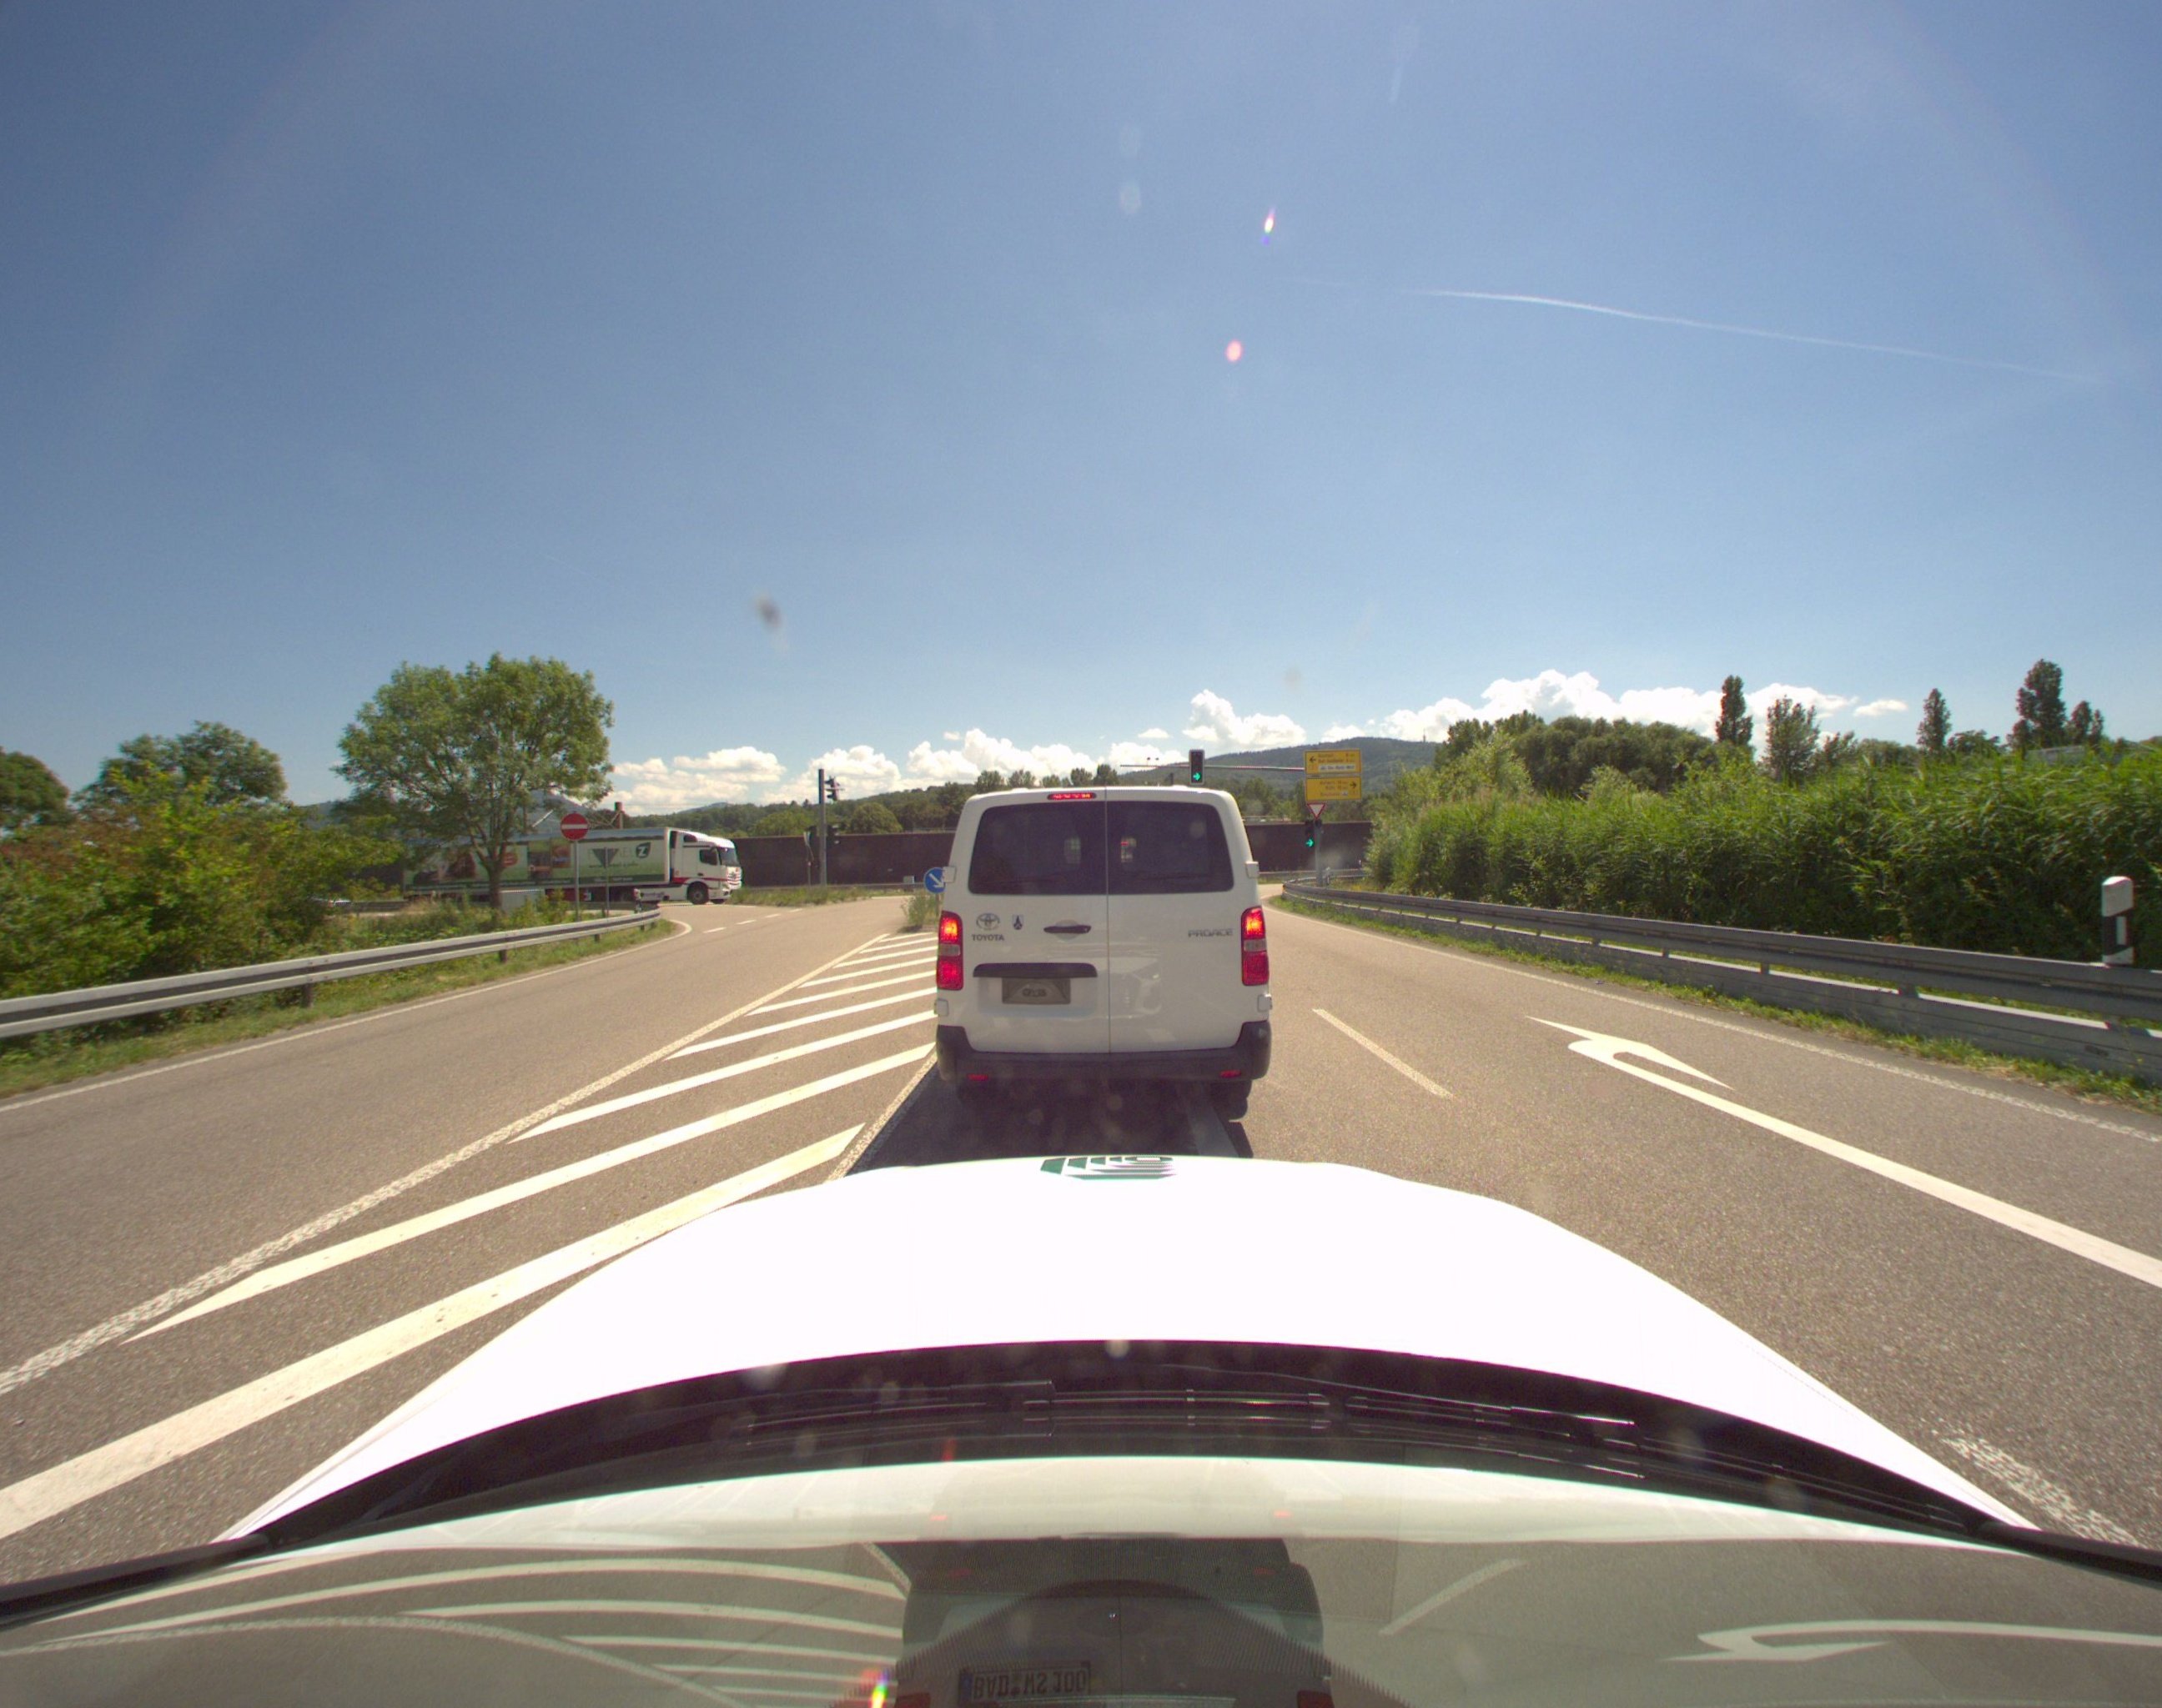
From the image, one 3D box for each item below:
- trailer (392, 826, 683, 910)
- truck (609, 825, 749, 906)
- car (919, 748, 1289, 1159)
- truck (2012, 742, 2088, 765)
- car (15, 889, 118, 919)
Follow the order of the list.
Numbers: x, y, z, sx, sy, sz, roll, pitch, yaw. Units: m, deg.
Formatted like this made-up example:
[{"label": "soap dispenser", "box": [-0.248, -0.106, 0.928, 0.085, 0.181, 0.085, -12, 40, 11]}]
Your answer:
[{"label": "trailer", "box": [-28.232, 0.729, 42.742, 13.098, 3.954, 3.061, -1, -1, 0]}, {"label": "truck", "box": [-20.974, 0.592, 42.799, 5.746, 3.954, 3.062, -1, -1, 0]}, {"label": "car", "box": [0.171, 0.512, 6.067, 1.808, 2.017, 4.001, -1, -1, 2]}, {"label": "truck", "box": [132.871, -13.720, 111.781, 2.609, 2.228, 6.666, -1, -1, 2]}, {"label": "car", "box": [-53.913, 2.637, 43.310, 3.462, 1.464, 1.554, -1, -1, 0]}]
